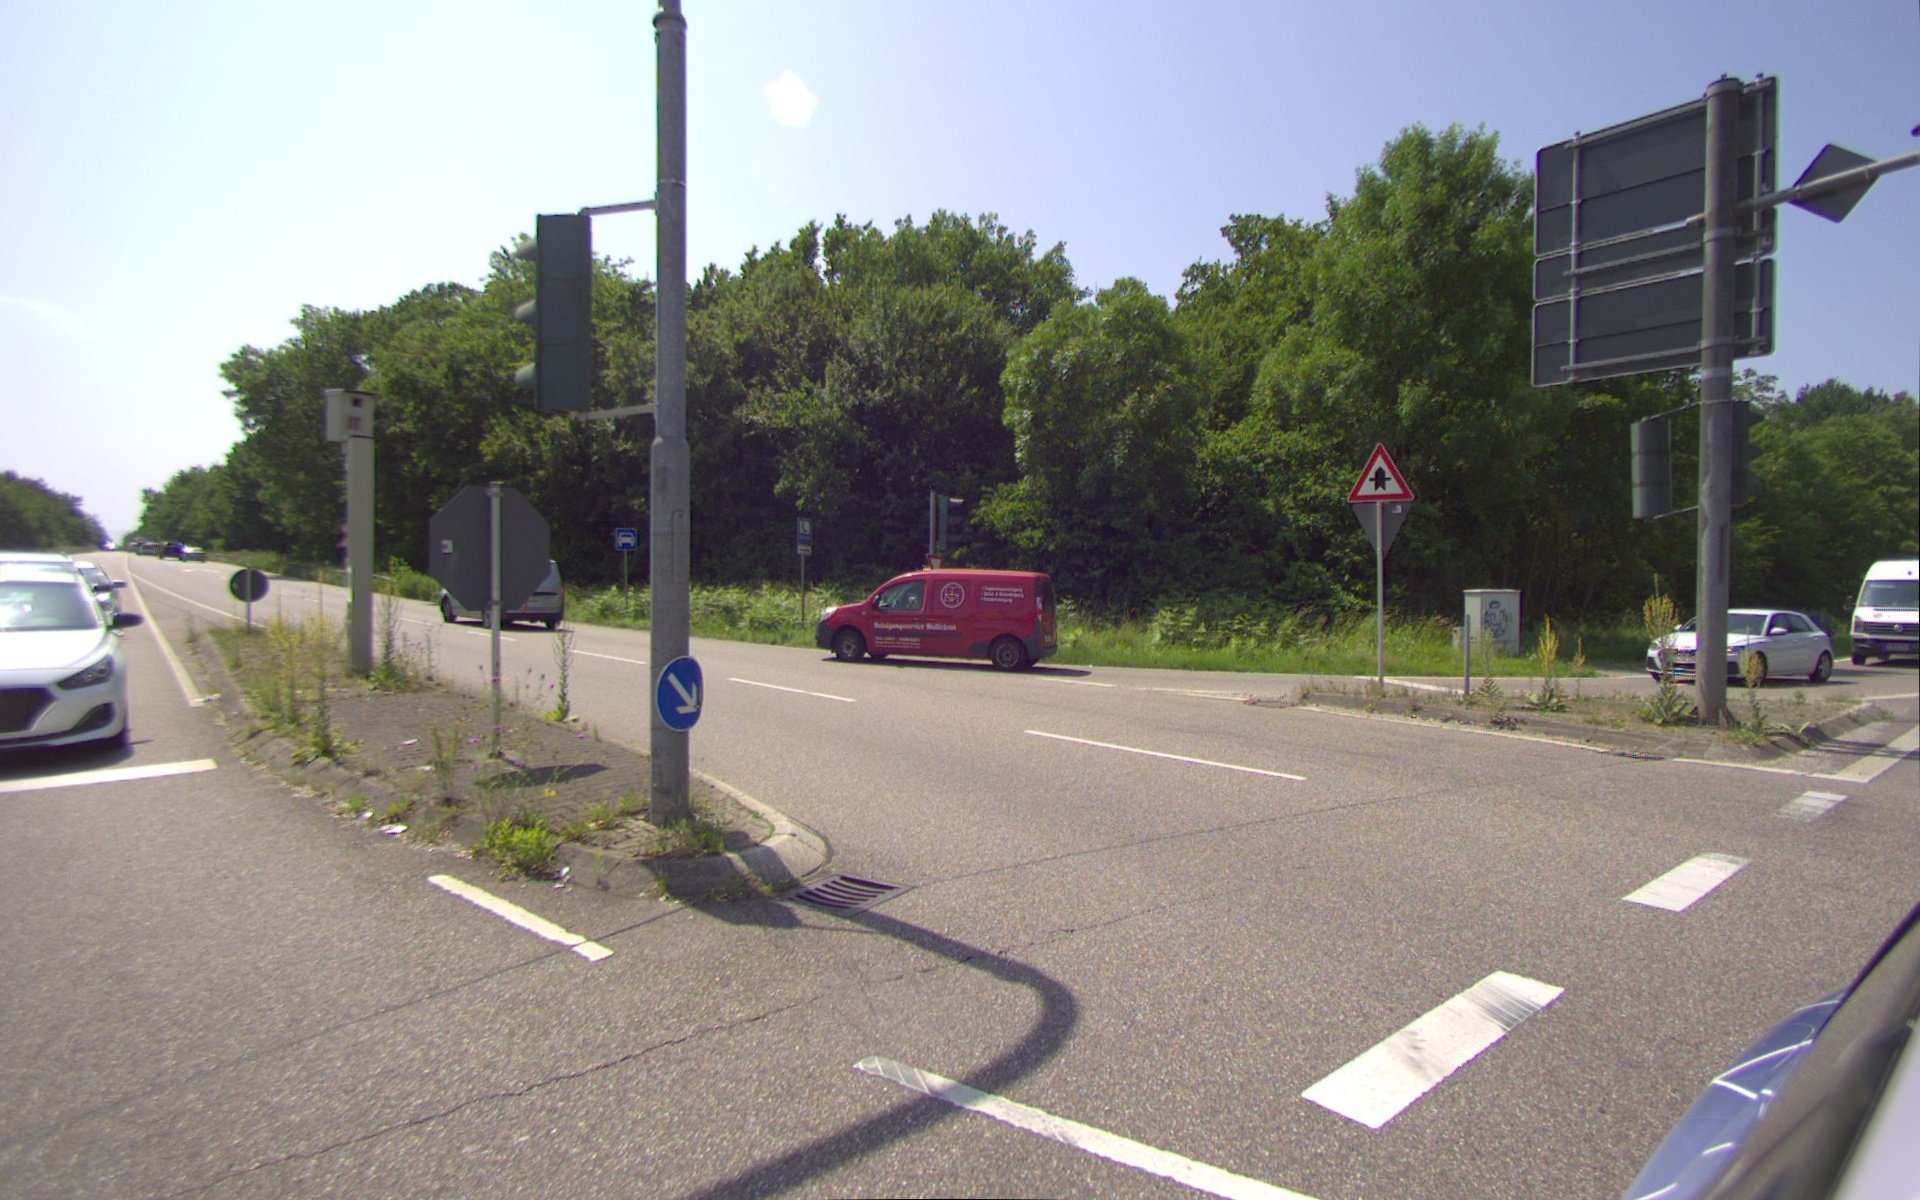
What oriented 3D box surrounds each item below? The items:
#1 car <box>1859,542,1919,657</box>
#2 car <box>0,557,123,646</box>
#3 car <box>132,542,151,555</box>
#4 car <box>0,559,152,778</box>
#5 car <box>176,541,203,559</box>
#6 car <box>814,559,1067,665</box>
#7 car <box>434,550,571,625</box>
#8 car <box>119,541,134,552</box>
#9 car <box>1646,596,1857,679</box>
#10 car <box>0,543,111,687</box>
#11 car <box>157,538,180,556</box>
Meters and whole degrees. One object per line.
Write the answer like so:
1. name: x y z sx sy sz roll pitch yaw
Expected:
1. car: 24.587 -0.016 25.539 5.952 2.679 1.973 0 -1 -40
2. car: -16.780 -0.049 18.725 1.939 1.432 4.342 -1 3 -39
3. car: -101.407 -6.318 125.450 1.814 1.517 4.458 0 2 -39
4. car: -8.378 0.422 8.756 1.966 1.554 4.427 0 2 -41
5. car: -71.100 -4.599 93.337 1.814 1.517 4.458 0 2 -39
6. car: -0.336 0.193 18.967 4.433 1.846 1.788 1 -1 16
7. car: -11.806 -0.301 26.001 4.097 1.796 1.735 0 0 43
8. car: -130.823 -8.373 158.868 1.814 1.517 4.458 0 2 -39
9. car: 15.256 0.672 19.490 3.918 1.454 1.697 0 -1 -27
10. car: -12.525 0.113 13.378 1.965 1.680 4.181 0 2 -40
11. car: -81.549 -5.455 104.267 1.814 1.773 4.458 0 2 -39
